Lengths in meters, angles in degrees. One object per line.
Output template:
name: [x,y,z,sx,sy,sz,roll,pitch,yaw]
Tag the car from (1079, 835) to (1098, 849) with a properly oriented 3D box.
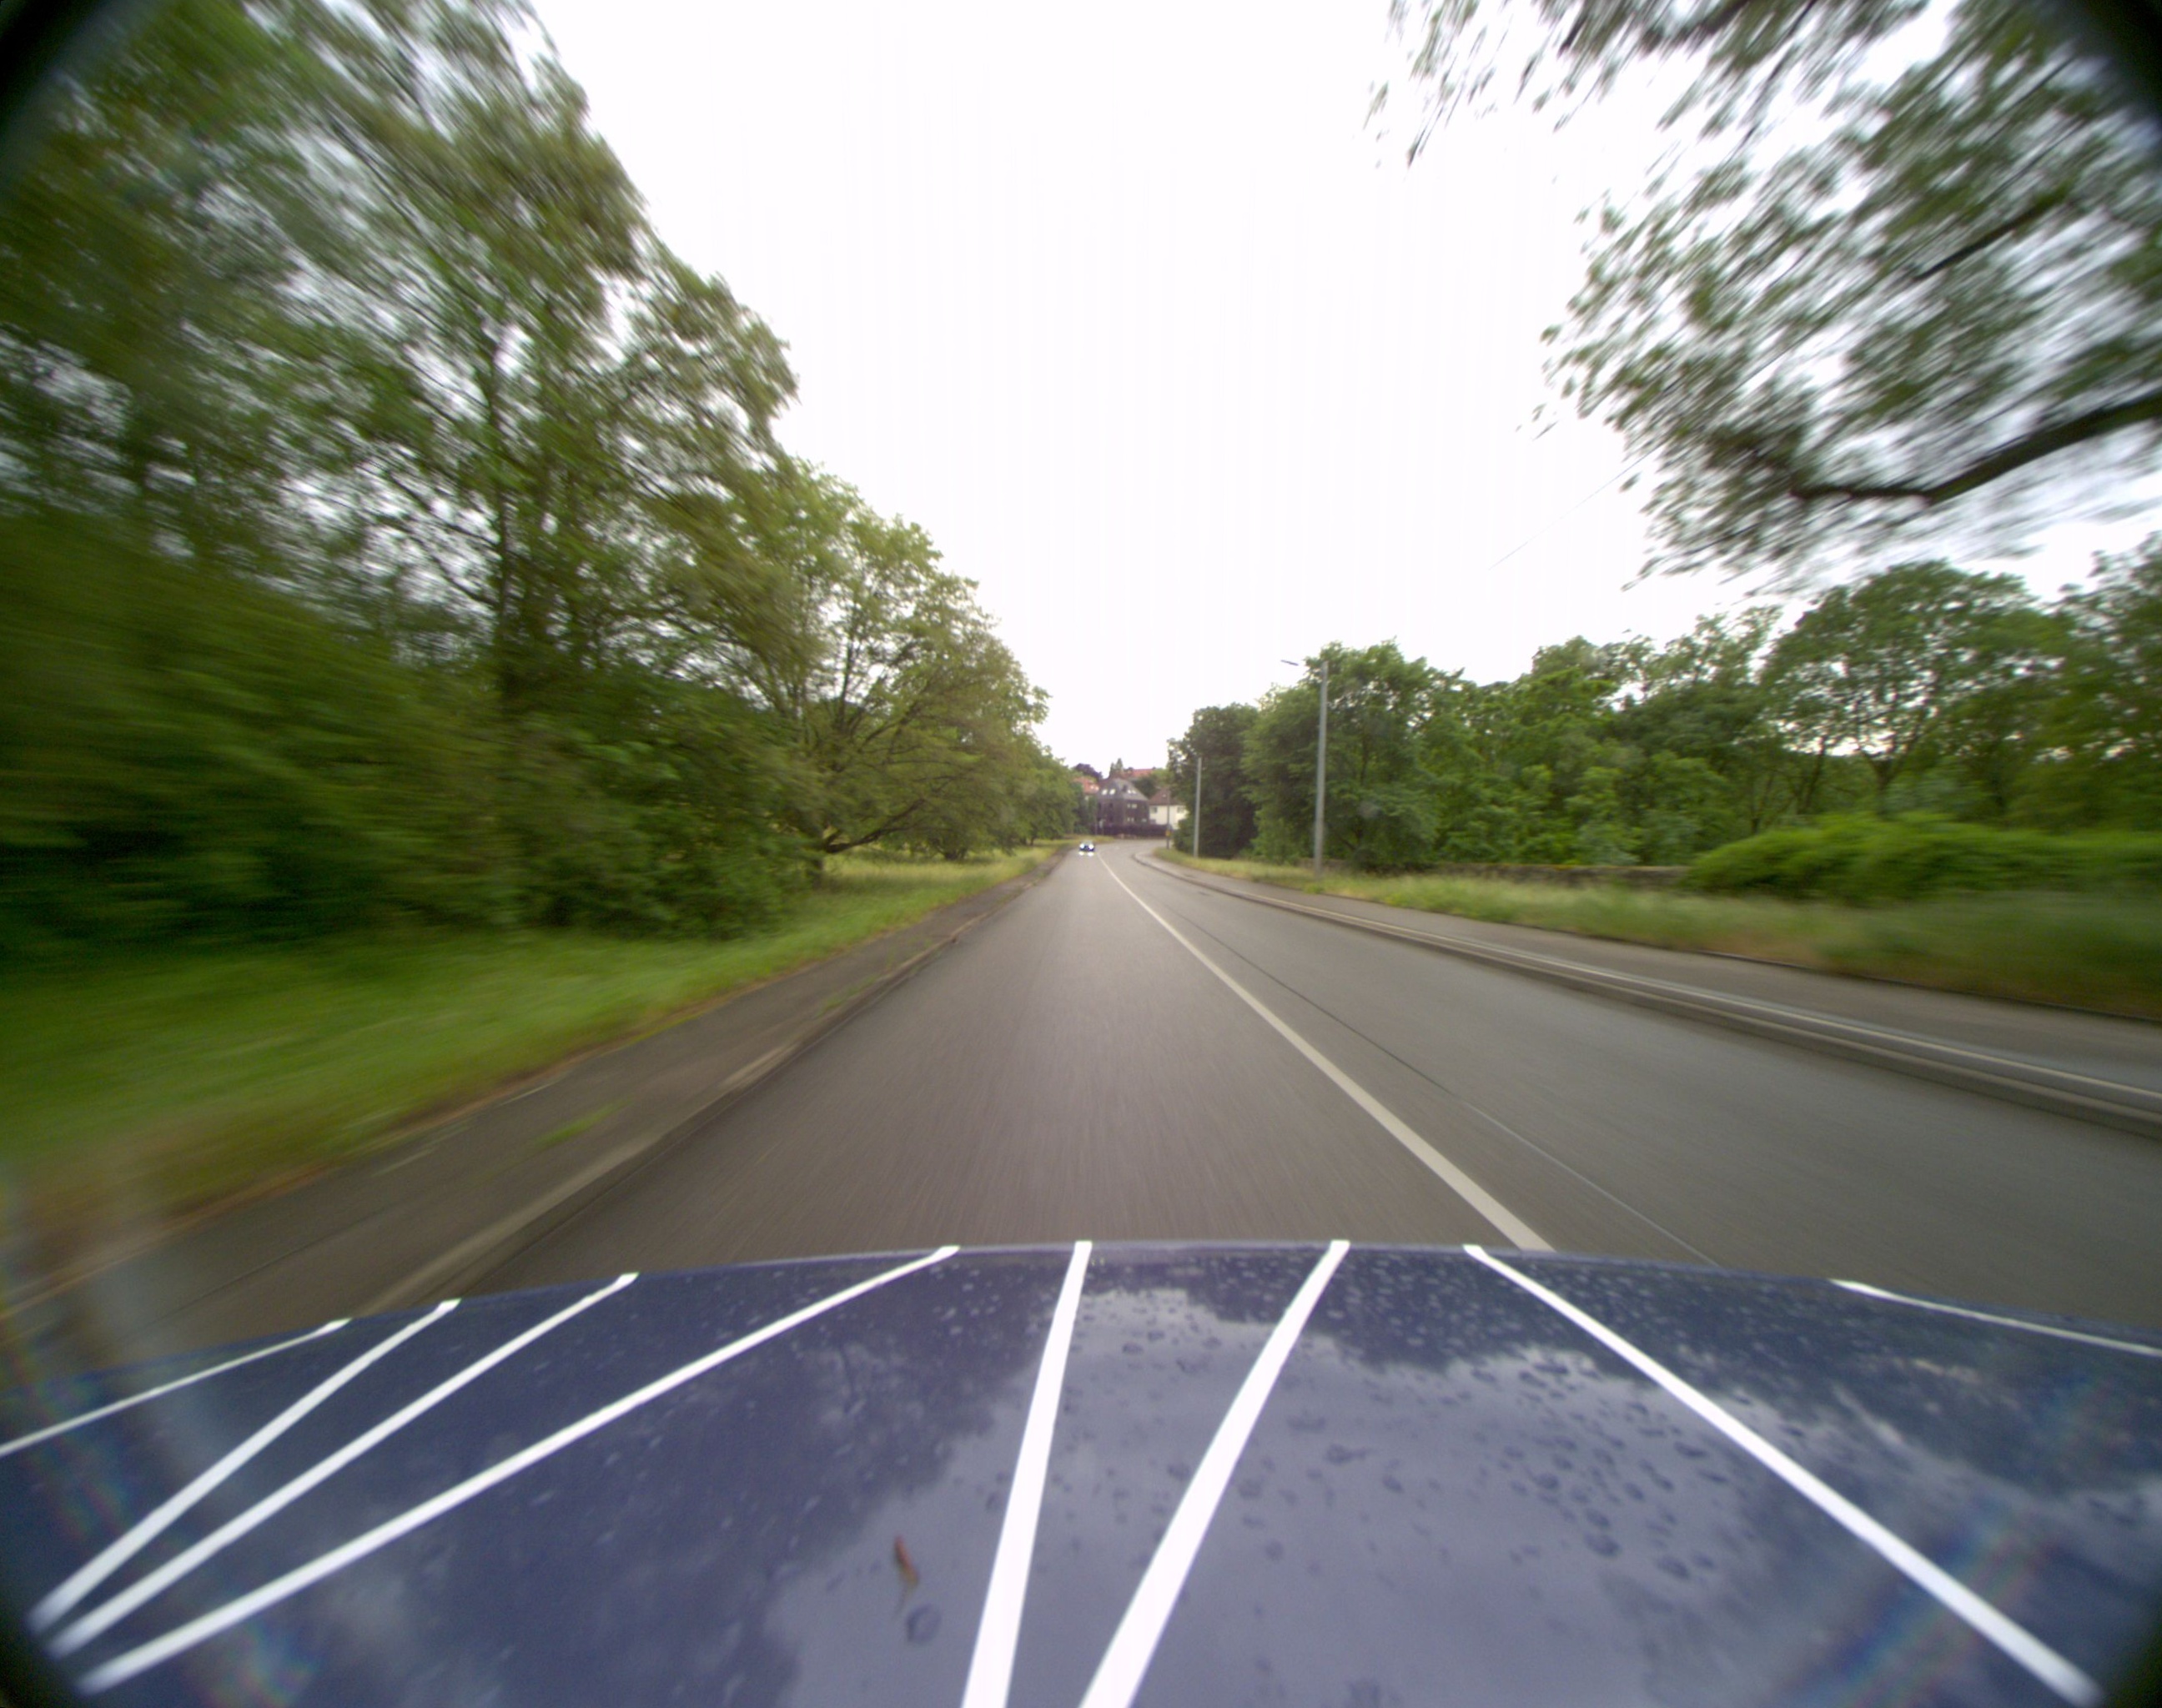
car: [1.045,-1.612,99.274,1.997,1.707,4.001,-1,2,7]
